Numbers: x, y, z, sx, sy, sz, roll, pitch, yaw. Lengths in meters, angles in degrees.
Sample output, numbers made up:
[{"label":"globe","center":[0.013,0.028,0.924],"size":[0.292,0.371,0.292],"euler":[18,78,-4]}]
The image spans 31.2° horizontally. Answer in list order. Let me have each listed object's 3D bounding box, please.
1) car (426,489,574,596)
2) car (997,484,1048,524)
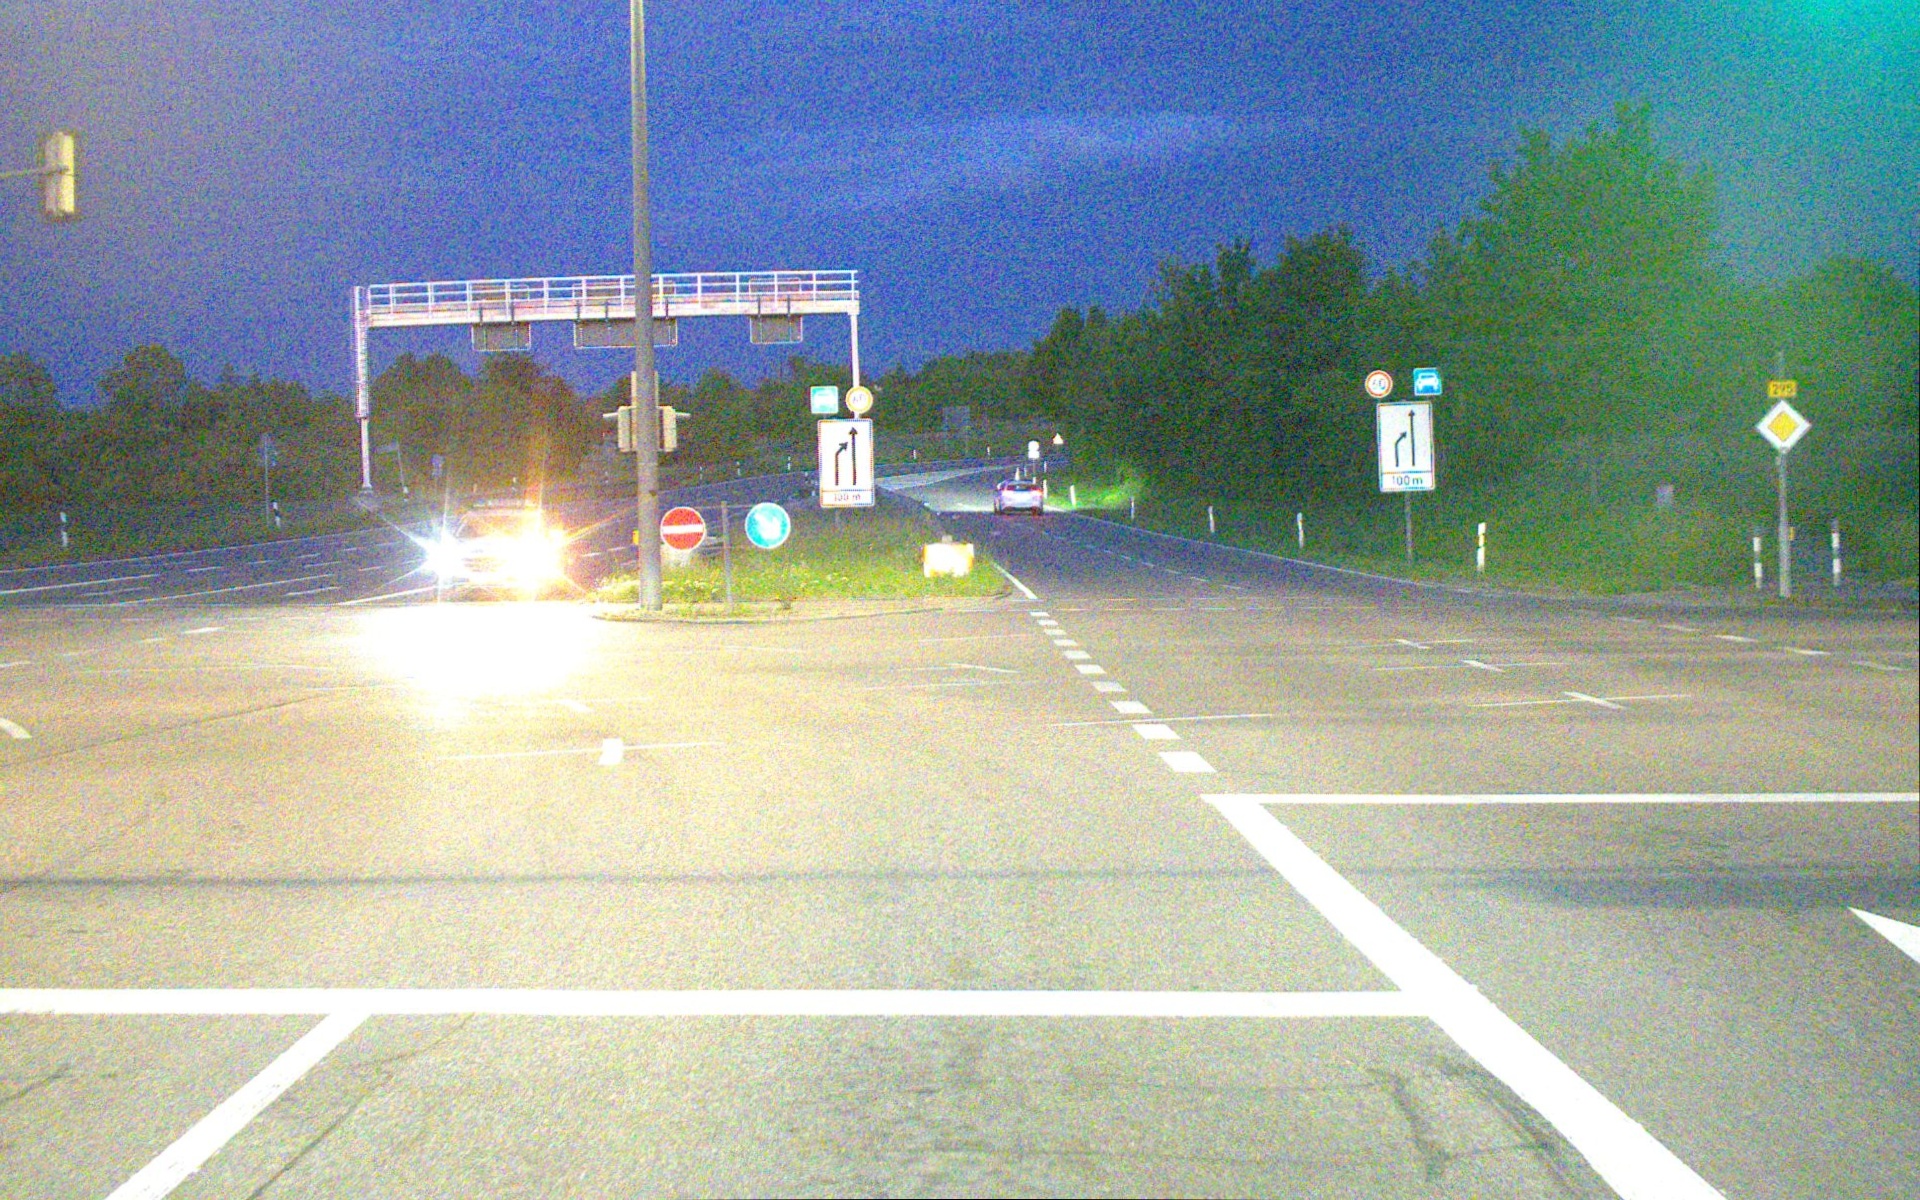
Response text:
[{"label":"car","center":[-7.527,-0.976,56.545],"size":[1.993,1.692,4.001],"euler":[0,2,-2]},{"label":"car","center":[2.584,-3.973,141.410],"size":[2.008,1.605,3.845],"euler":[0,2,2]}]
